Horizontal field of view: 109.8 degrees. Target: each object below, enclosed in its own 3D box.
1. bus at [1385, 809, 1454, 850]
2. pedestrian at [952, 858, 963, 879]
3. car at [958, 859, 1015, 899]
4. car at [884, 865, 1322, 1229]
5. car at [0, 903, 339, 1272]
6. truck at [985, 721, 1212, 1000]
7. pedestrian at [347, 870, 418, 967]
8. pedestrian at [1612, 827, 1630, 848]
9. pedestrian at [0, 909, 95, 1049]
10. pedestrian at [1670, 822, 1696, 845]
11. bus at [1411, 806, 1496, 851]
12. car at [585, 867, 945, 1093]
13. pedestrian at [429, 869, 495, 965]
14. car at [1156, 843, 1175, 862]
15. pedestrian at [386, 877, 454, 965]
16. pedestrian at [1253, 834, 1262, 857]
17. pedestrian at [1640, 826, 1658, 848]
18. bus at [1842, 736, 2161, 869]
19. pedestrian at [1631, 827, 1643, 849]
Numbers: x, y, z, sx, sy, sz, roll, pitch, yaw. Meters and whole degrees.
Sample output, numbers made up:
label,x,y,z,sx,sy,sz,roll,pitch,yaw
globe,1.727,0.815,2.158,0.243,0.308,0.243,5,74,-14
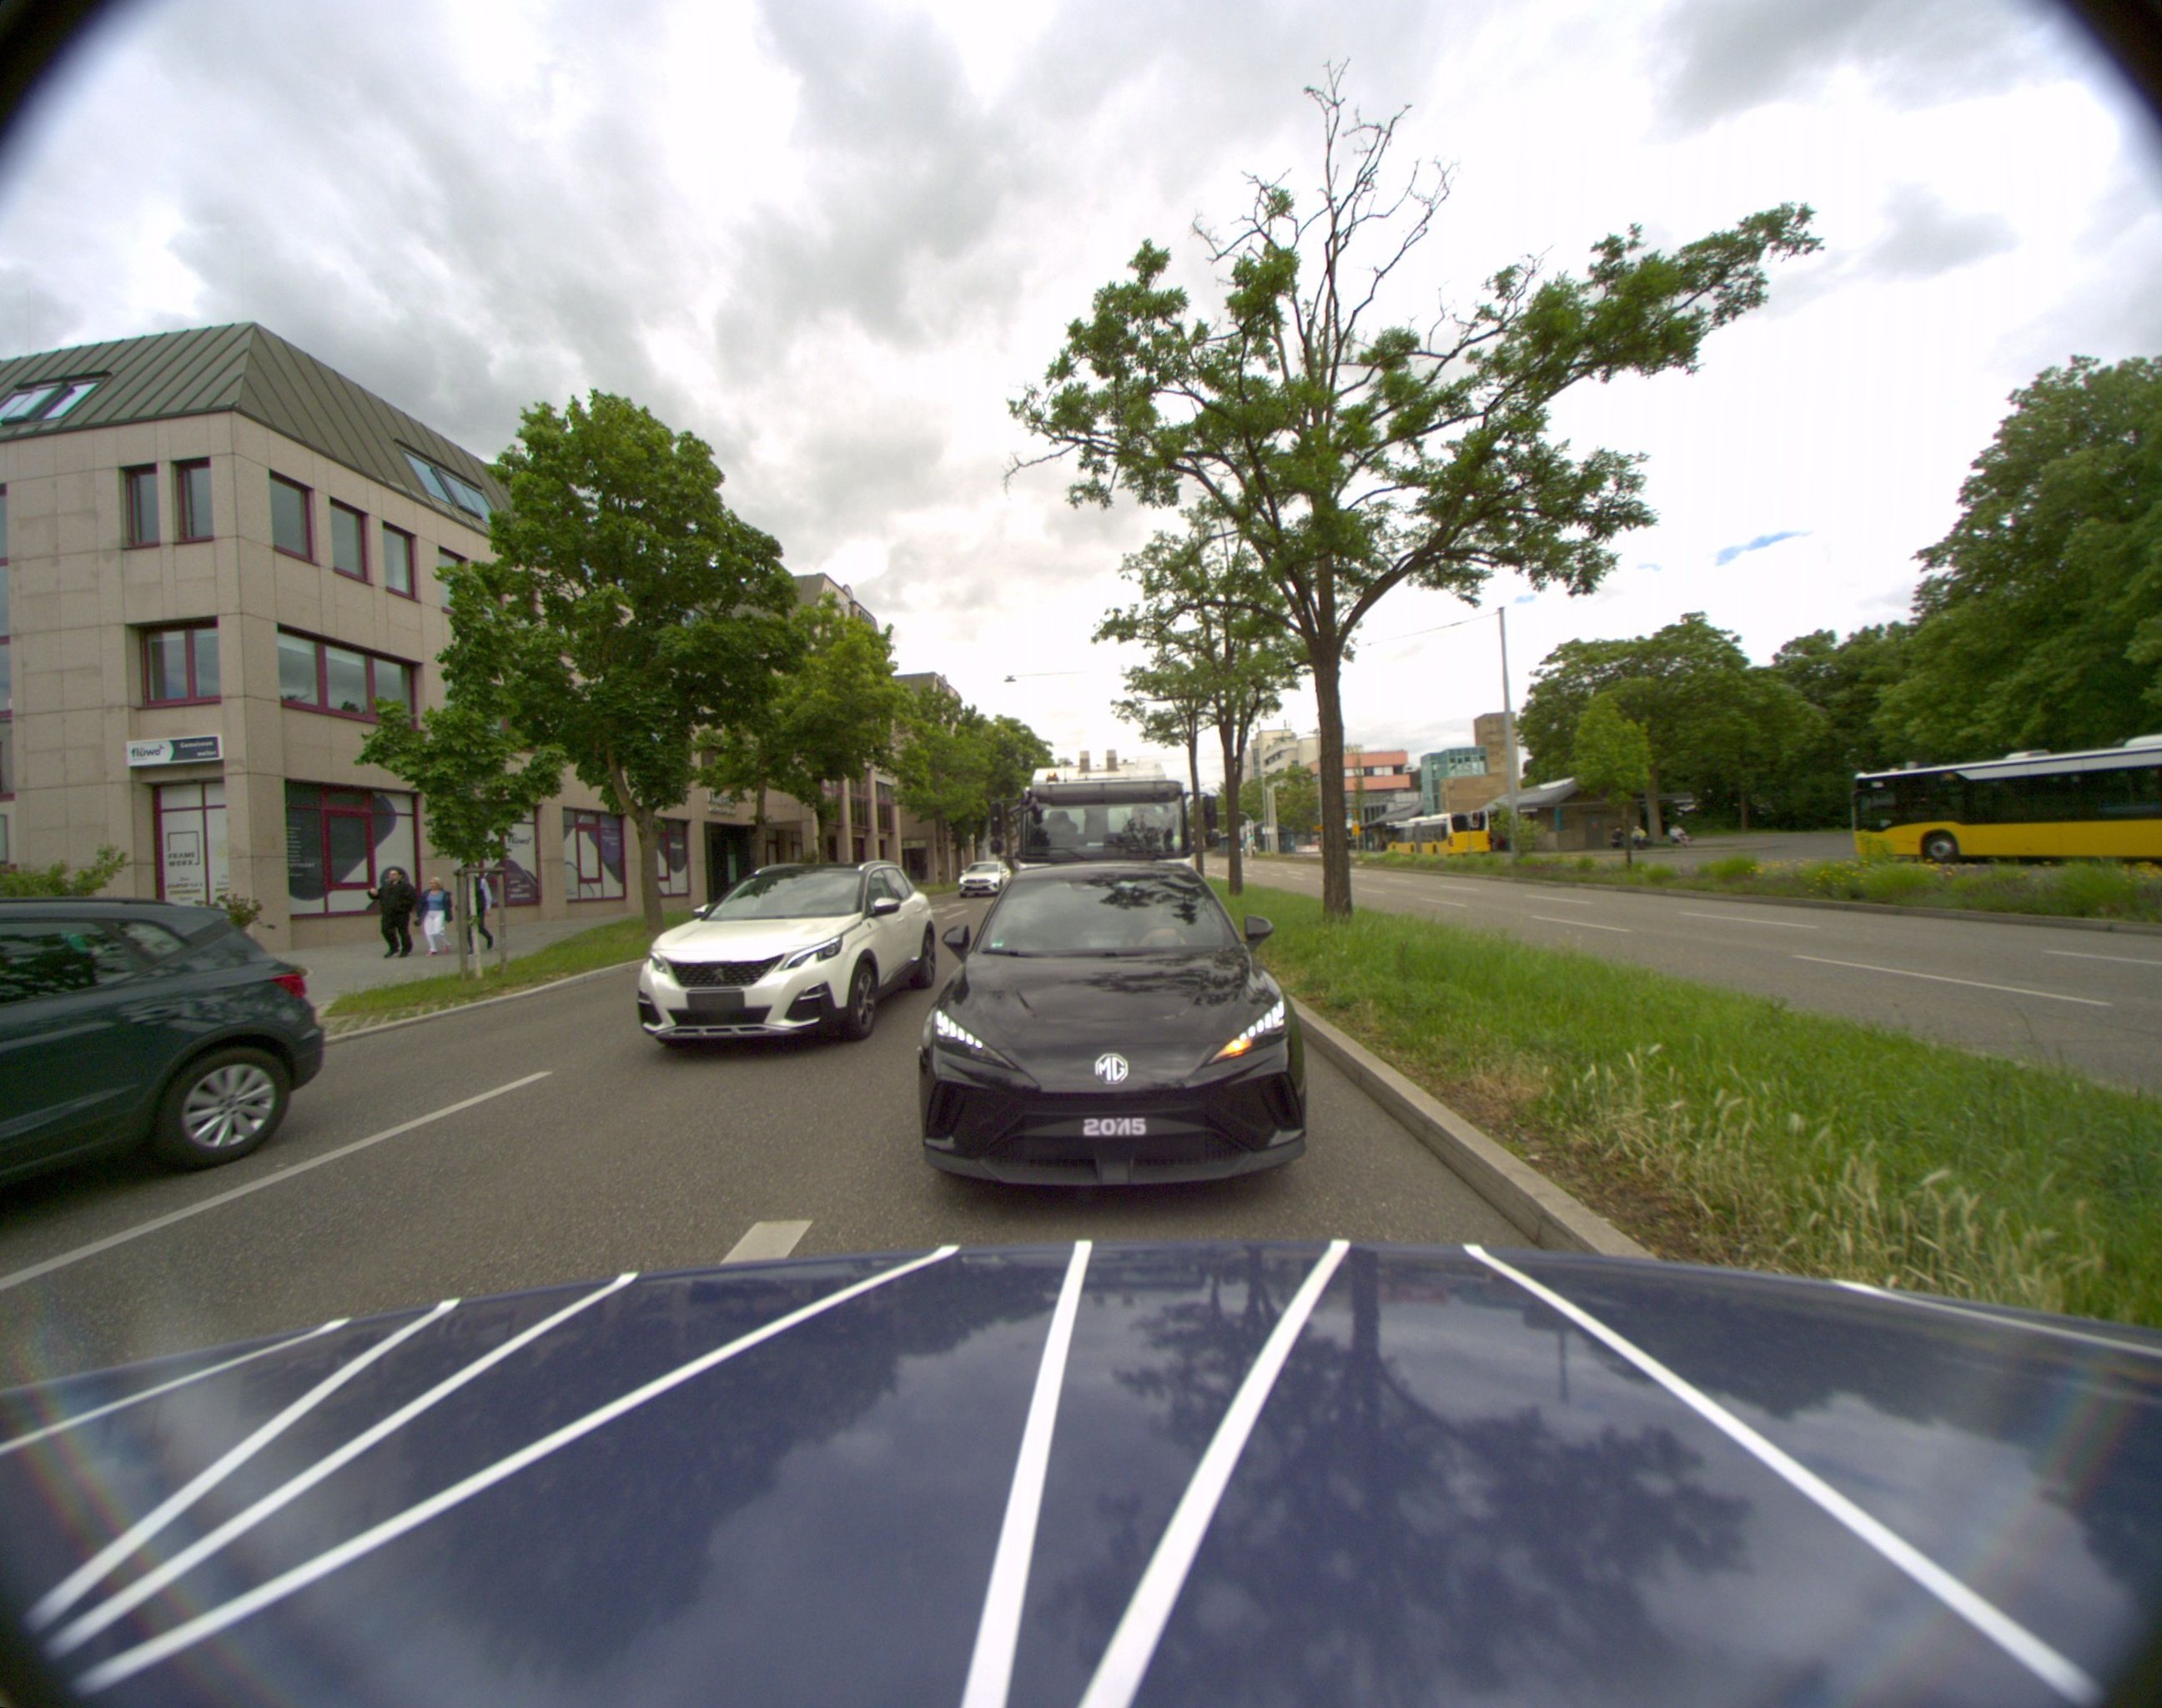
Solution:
label,x,y,z,sx,sy,sz,roll,pitch,yaw
bus,27.563,-1.906,62.341,2.887,2.985,9.182,-3,0,10
pedestrian,-10.510,1.202,64.718,0.719,1.737,0.832,-2,1,-1
car,-4.056,1.021,33.212,1.719,1.546,4.090,-2,0,3
car,0.121,0.866,5.280,1.827,1.430,4.000,-3,0,1
car,-5.592,1.117,2.821,1.661,1.504,3.999,-2,1,0
truck,0.318,0.072,12.682,2.544,3.187,7.369,-3,0,2
pedestrian,-13.507,1.227,14.718,0.642,1.795,0.677,-3,1,1
pedestrian,30.671,-0.928,43.187,0.599,1.155,0.743,-2,1,15
pedestrian,-12.128,1.420,8.808,0.496,1.510,0.677,0,1,1
pedestrian,31.952,-1.081,40.358,0.650,1.165,0.925,-2,1,1
bus,25.993,-1.691,53.492,2.887,2.793,9.182,-3,0,10
car,-2.795,0.999,7.946,1.859,1.586,4.313,-2,0,1
pedestrian,-12.110,1.215,14.886,0.642,1.795,0.677,-3,1,1
car,9.439,-0.156,84.908,1.726,2.002,4.001,-3,0,3
pedestrian,-12.837,1.283,14.776,0.642,1.637,0.677,-3,1,1
pedestrian,21.549,-1.028,92.724,0.903,2.772,1.148,-2,1,13
pedestrian,30.621,-0.901,40.971,0.598,1.155,0.744,-2,1,26
bus,25.926,-1.236,19.617,2.888,2.985,10.397,-3,0,6
pedestrian,30.209,-0.889,41.300,0.367,1.160,0.899,-2,1,26
